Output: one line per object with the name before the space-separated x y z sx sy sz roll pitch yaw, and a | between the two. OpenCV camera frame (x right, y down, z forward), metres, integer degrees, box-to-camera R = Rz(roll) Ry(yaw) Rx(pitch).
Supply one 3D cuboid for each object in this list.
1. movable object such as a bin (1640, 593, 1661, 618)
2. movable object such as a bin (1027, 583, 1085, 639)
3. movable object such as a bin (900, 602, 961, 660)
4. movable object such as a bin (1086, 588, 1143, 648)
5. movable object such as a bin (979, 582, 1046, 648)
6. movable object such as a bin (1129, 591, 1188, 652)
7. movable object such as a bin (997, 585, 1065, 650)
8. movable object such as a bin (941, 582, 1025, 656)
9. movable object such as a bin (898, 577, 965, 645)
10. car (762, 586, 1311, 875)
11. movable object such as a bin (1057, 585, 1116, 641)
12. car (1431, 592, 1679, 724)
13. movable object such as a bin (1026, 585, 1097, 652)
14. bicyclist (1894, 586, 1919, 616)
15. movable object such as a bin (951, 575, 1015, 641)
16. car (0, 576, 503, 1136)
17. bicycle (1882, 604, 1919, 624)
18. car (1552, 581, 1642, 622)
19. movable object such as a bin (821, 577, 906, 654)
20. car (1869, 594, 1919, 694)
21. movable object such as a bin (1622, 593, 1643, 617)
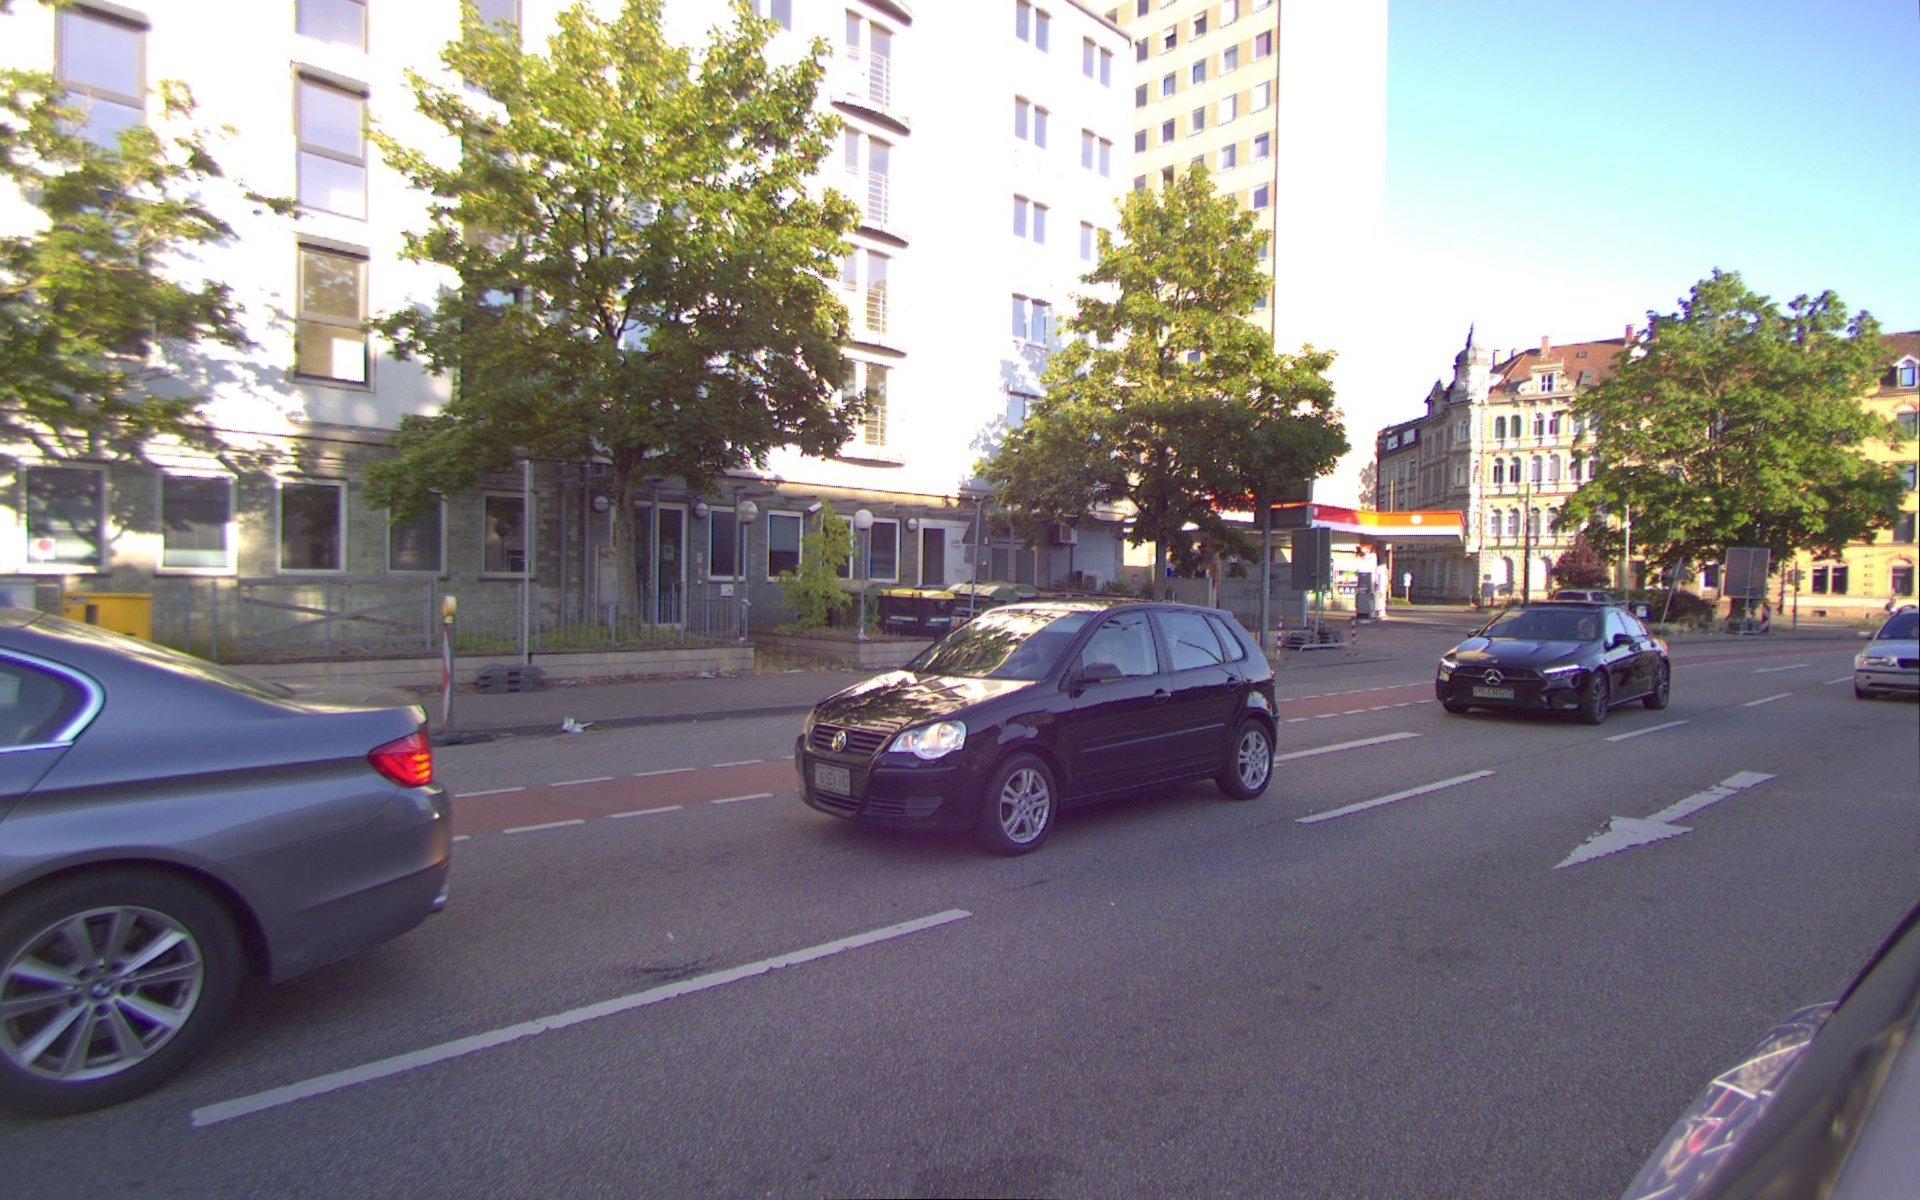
movable object such as a bin | 29.418 0.229 43.101 0.675 1.031 0.544 0 1 -36
movable object such as a bin | 2.400 0.261 25.349 1.080 1.345 0.954 0 1 -44
movable object such as a bin | -0.559 0.575 19.475 0.851 1.058 0.807 2 1 45
movable object such as a bin | 3.612 0.404 23.664 0.938 1.345 0.954 0 1 -43
movable object such as a bin | 1.199 0.321 23.196 1.143 1.467 1.033 0 1 -44
movable object such as a bin | 4.538 0.477 23.179 0.938 1.345 0.954 0 1 -43
movable object such as a bin | 1.559 0.364 22.066 1.143 1.345 0.954 0 1 -44
movable object such as a bin | 0.464 0.362 20.866 1.348 1.441 1.088 2 2 45
movable object such as a bin | -0.666 0.237 23.626 1.143 1.517 1.033 0 1 -44
car | 0.703 0.650 6.991 3.804 1.467 1.583 0 0 -41
movable object such as a bin | 3.079 0.292 24.620 1.080 1.299 0.954 0 1 -44
car | 7.851 0.629 13.205 3.977 1.467 1.729 0 0 -43
movable object such as a bin | 2.123 0.364 21.080 1.143 1.345 0.954 0 1 -44
bicyclist | 53.821 0.054 57.490 1.062 1.669 0.721 2 1 43
movable object such as a bin | 0.552 0.183 24.188 1.143 1.517 1.033 0 1 -44
car | -3.870 0.666 2.613 4.588 1.467 1.817 0 0 -43
bicycle | 53.703 0.776 57.496 1.920 1.072 0.444 2 1 43
car | 25.766 0.031 40.907 3.723 1.535 1.691 -1 2 -34
movable object such as a bin | -1.947 0.288 20.406 1.348 1.479 1.088 2 1 45
car | 15.690 0.634 15.861 4.363 1.436 1.673 0 0 -42
movable object such as a bin | 29.104 0.213 43.786 0.675 1.031 0.544 0 1 -36
